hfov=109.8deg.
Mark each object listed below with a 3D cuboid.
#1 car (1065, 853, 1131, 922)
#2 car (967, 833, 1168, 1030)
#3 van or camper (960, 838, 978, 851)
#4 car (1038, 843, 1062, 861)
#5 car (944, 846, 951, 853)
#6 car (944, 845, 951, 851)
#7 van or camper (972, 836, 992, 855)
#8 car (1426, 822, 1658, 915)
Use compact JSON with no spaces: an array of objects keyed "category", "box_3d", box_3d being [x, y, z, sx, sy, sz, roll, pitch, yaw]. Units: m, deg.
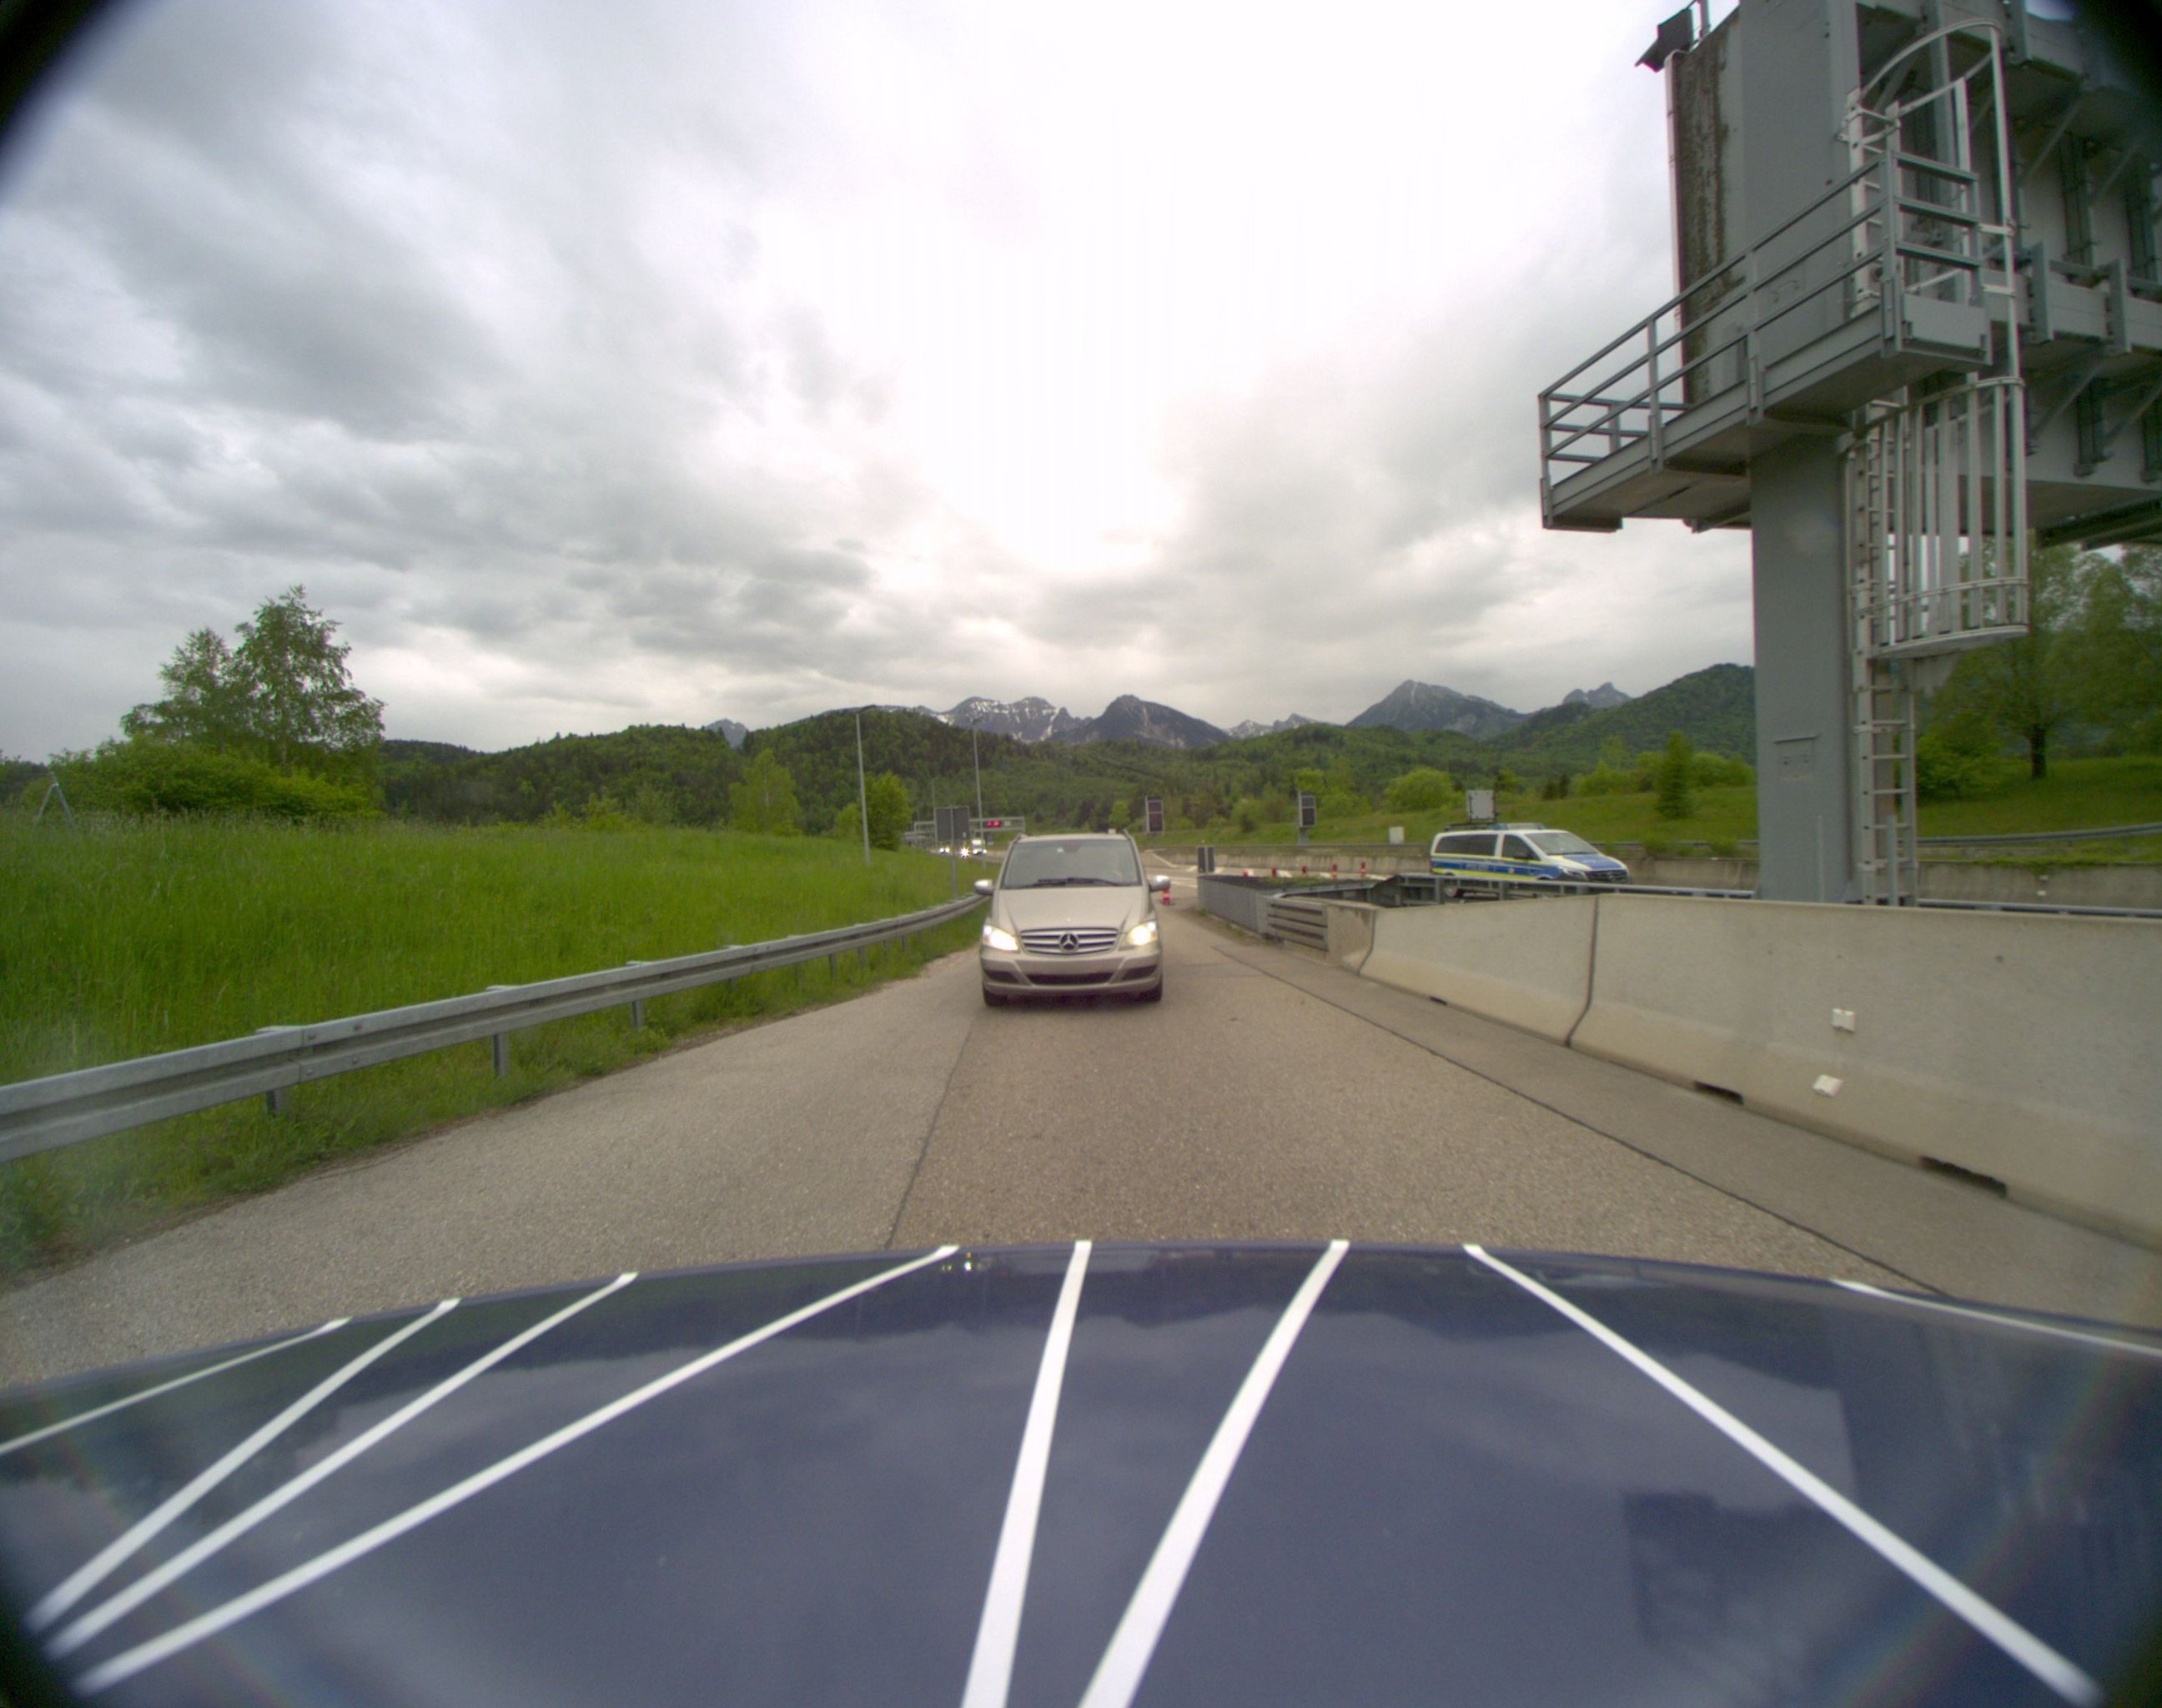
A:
[{"category":"car","box_3d":[0.461,0.828,20.617,1.591,1.662,4.000,-1,0,1]},{"category":"car","box_3d":[-0.094,0.694,9.969,1.862,1.833,5.616,-1,1,1]},{"category":"van or camper","box_3d":[-24.969,-2.132,169.167,3.345,2.629,8.190,-2,1,-13]},{"category":"car","box_3d":[-3.111,-0.221,75.288,1.767,1.759,3.996,-1,1,-11]},{"category":"car","box_3d":[-38.275,-1.382,218.301,1.868,1.861,3.995,-1,1,-11]},{"category":"car","box_3d":[-38.296,-1.799,218.167,1.722,1.629,4.342,-1,1,-14]},{"category":"van or camper","box_3d":[-18.047,-1.553,137.807,2.585,3.372,7.345,-2,1,-15]},{"category":"car","box_3d":[11.319,0.287,19.222,2.106,2.002,5.045,-2,1,-13]}]
